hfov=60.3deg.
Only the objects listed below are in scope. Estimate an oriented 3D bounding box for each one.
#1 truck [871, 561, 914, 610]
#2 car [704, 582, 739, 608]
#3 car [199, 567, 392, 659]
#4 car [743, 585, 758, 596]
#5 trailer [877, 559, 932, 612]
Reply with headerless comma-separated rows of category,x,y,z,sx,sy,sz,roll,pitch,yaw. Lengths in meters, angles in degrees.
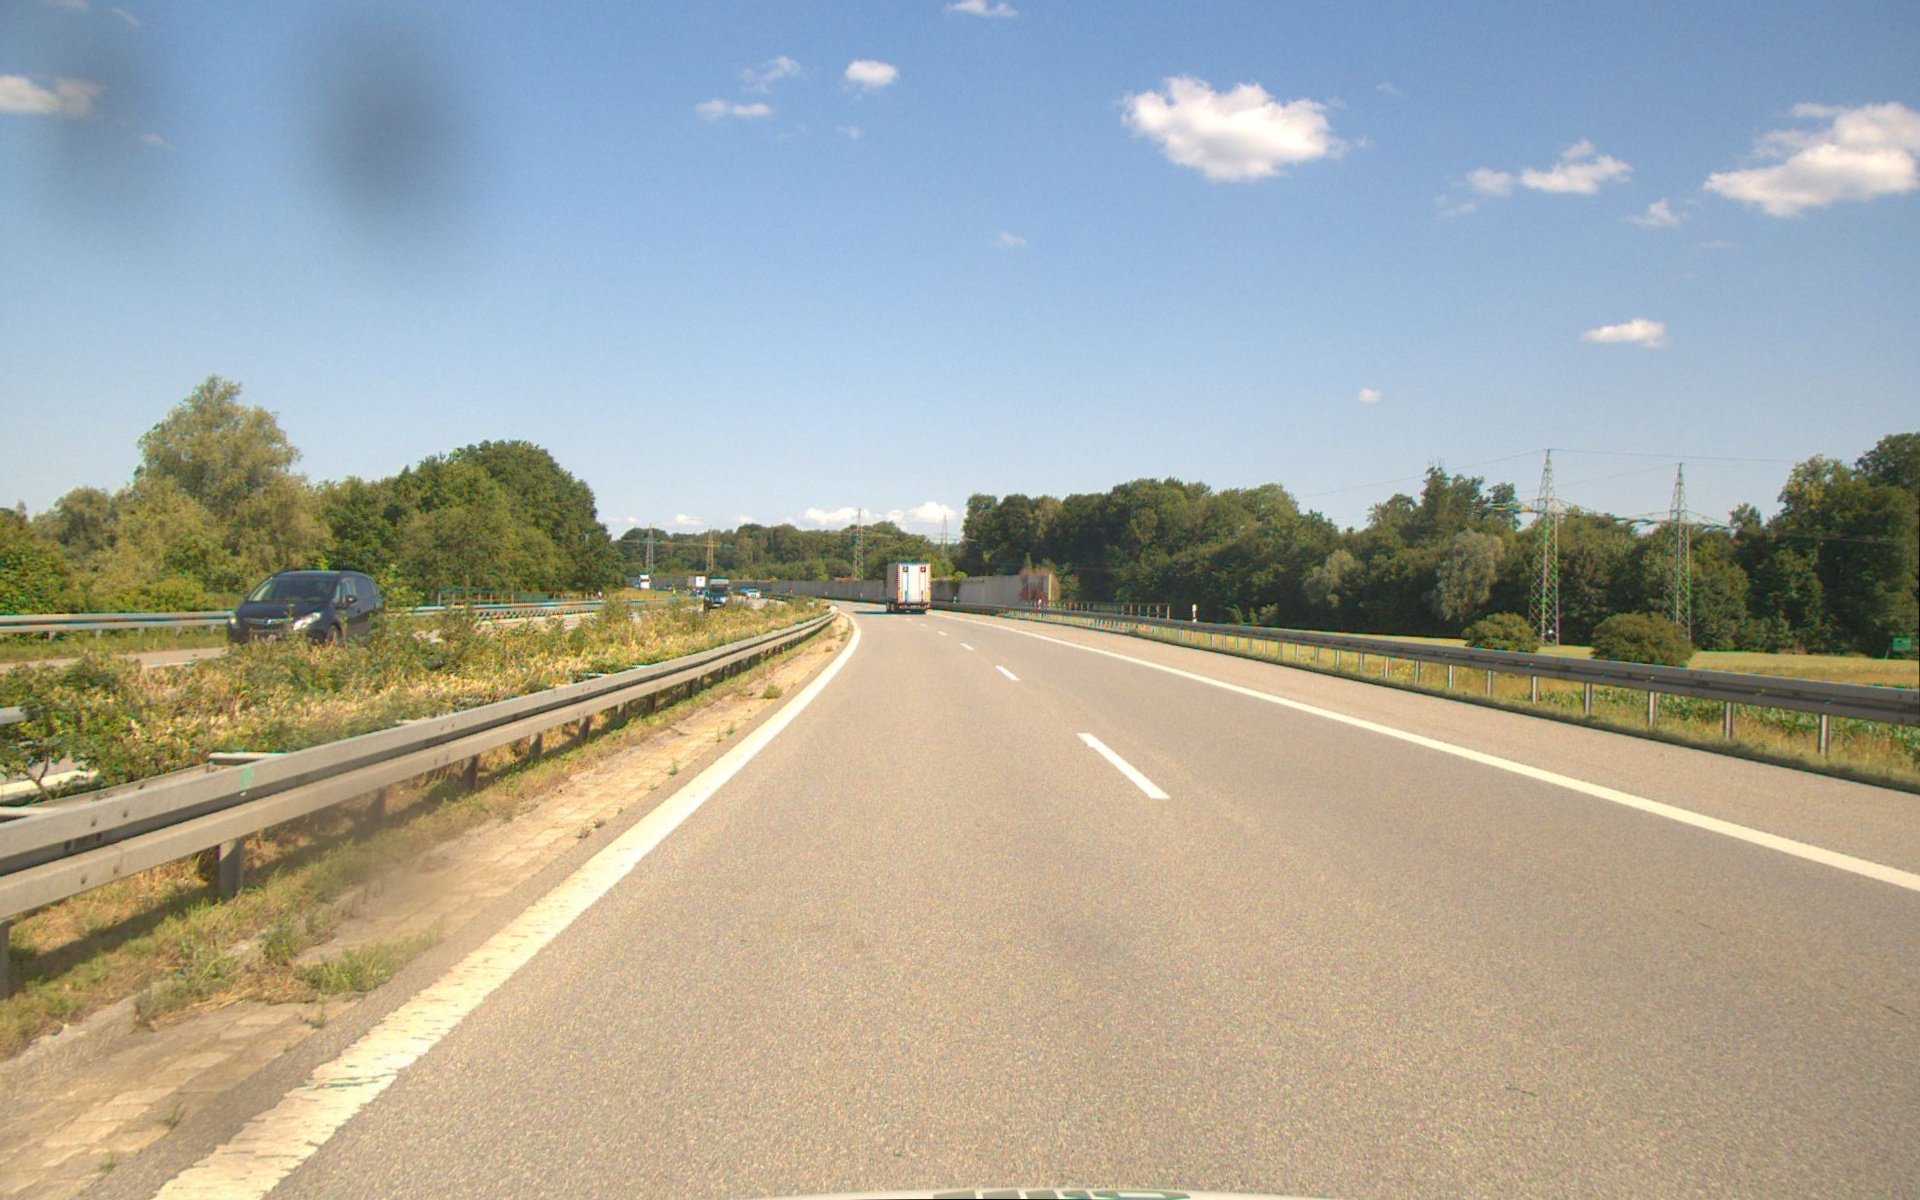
truck,-5.827,-1.223,142.072,2.780,4.082,6.569,0,0,-11
car,-16.423,-0.339,114.016,1.954,1.708,5.313,-1,0,-4
car,-12.258,0.215,30.839,1.953,1.582,4.417,-1,0,-3
car,-30.423,-1.380,239.688,1.788,1.459,4.637,1,0,-11
trailer,-4.669,-1.188,135.910,2.832,4.137,12.390,0,0,-10
